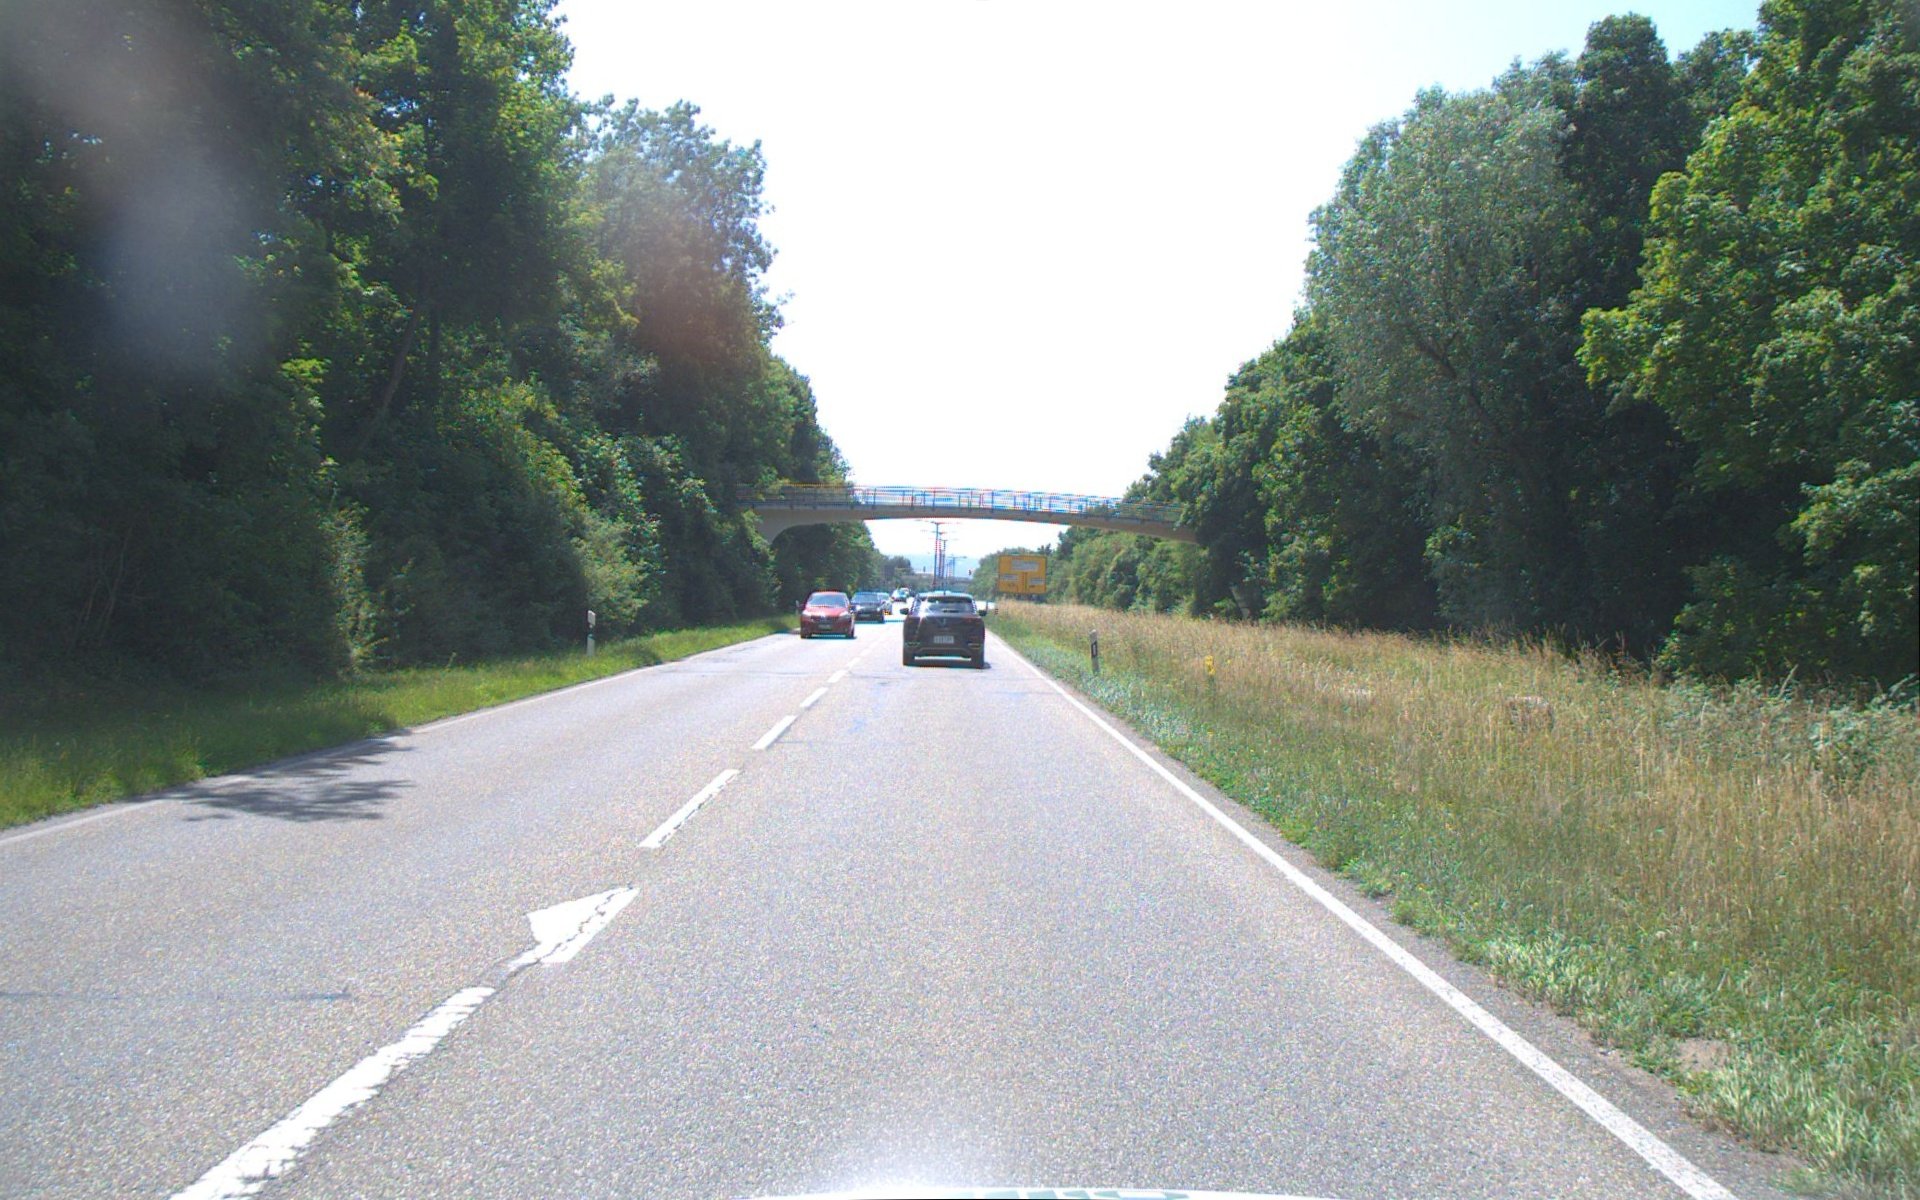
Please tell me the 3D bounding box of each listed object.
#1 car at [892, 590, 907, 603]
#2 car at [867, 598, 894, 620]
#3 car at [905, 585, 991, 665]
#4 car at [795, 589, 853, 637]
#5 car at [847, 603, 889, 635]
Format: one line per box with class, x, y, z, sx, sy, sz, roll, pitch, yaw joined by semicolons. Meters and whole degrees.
car;-7.519;-0.478;206.021;1.786;1.618;4.418;0;0;-1
car;-5.452;0.622;114.268;1.643;1.458;3.772;0;0;0
car;-0.278;0.516;36.129;1.720;1.583;3.999;2;0;-1
car;-4.469;0.413;54.836;1.648;1.519;3.999;0;0;-1
car;-4.518;0.924;81.594;1.747;1.475;4.110;1;0;0
